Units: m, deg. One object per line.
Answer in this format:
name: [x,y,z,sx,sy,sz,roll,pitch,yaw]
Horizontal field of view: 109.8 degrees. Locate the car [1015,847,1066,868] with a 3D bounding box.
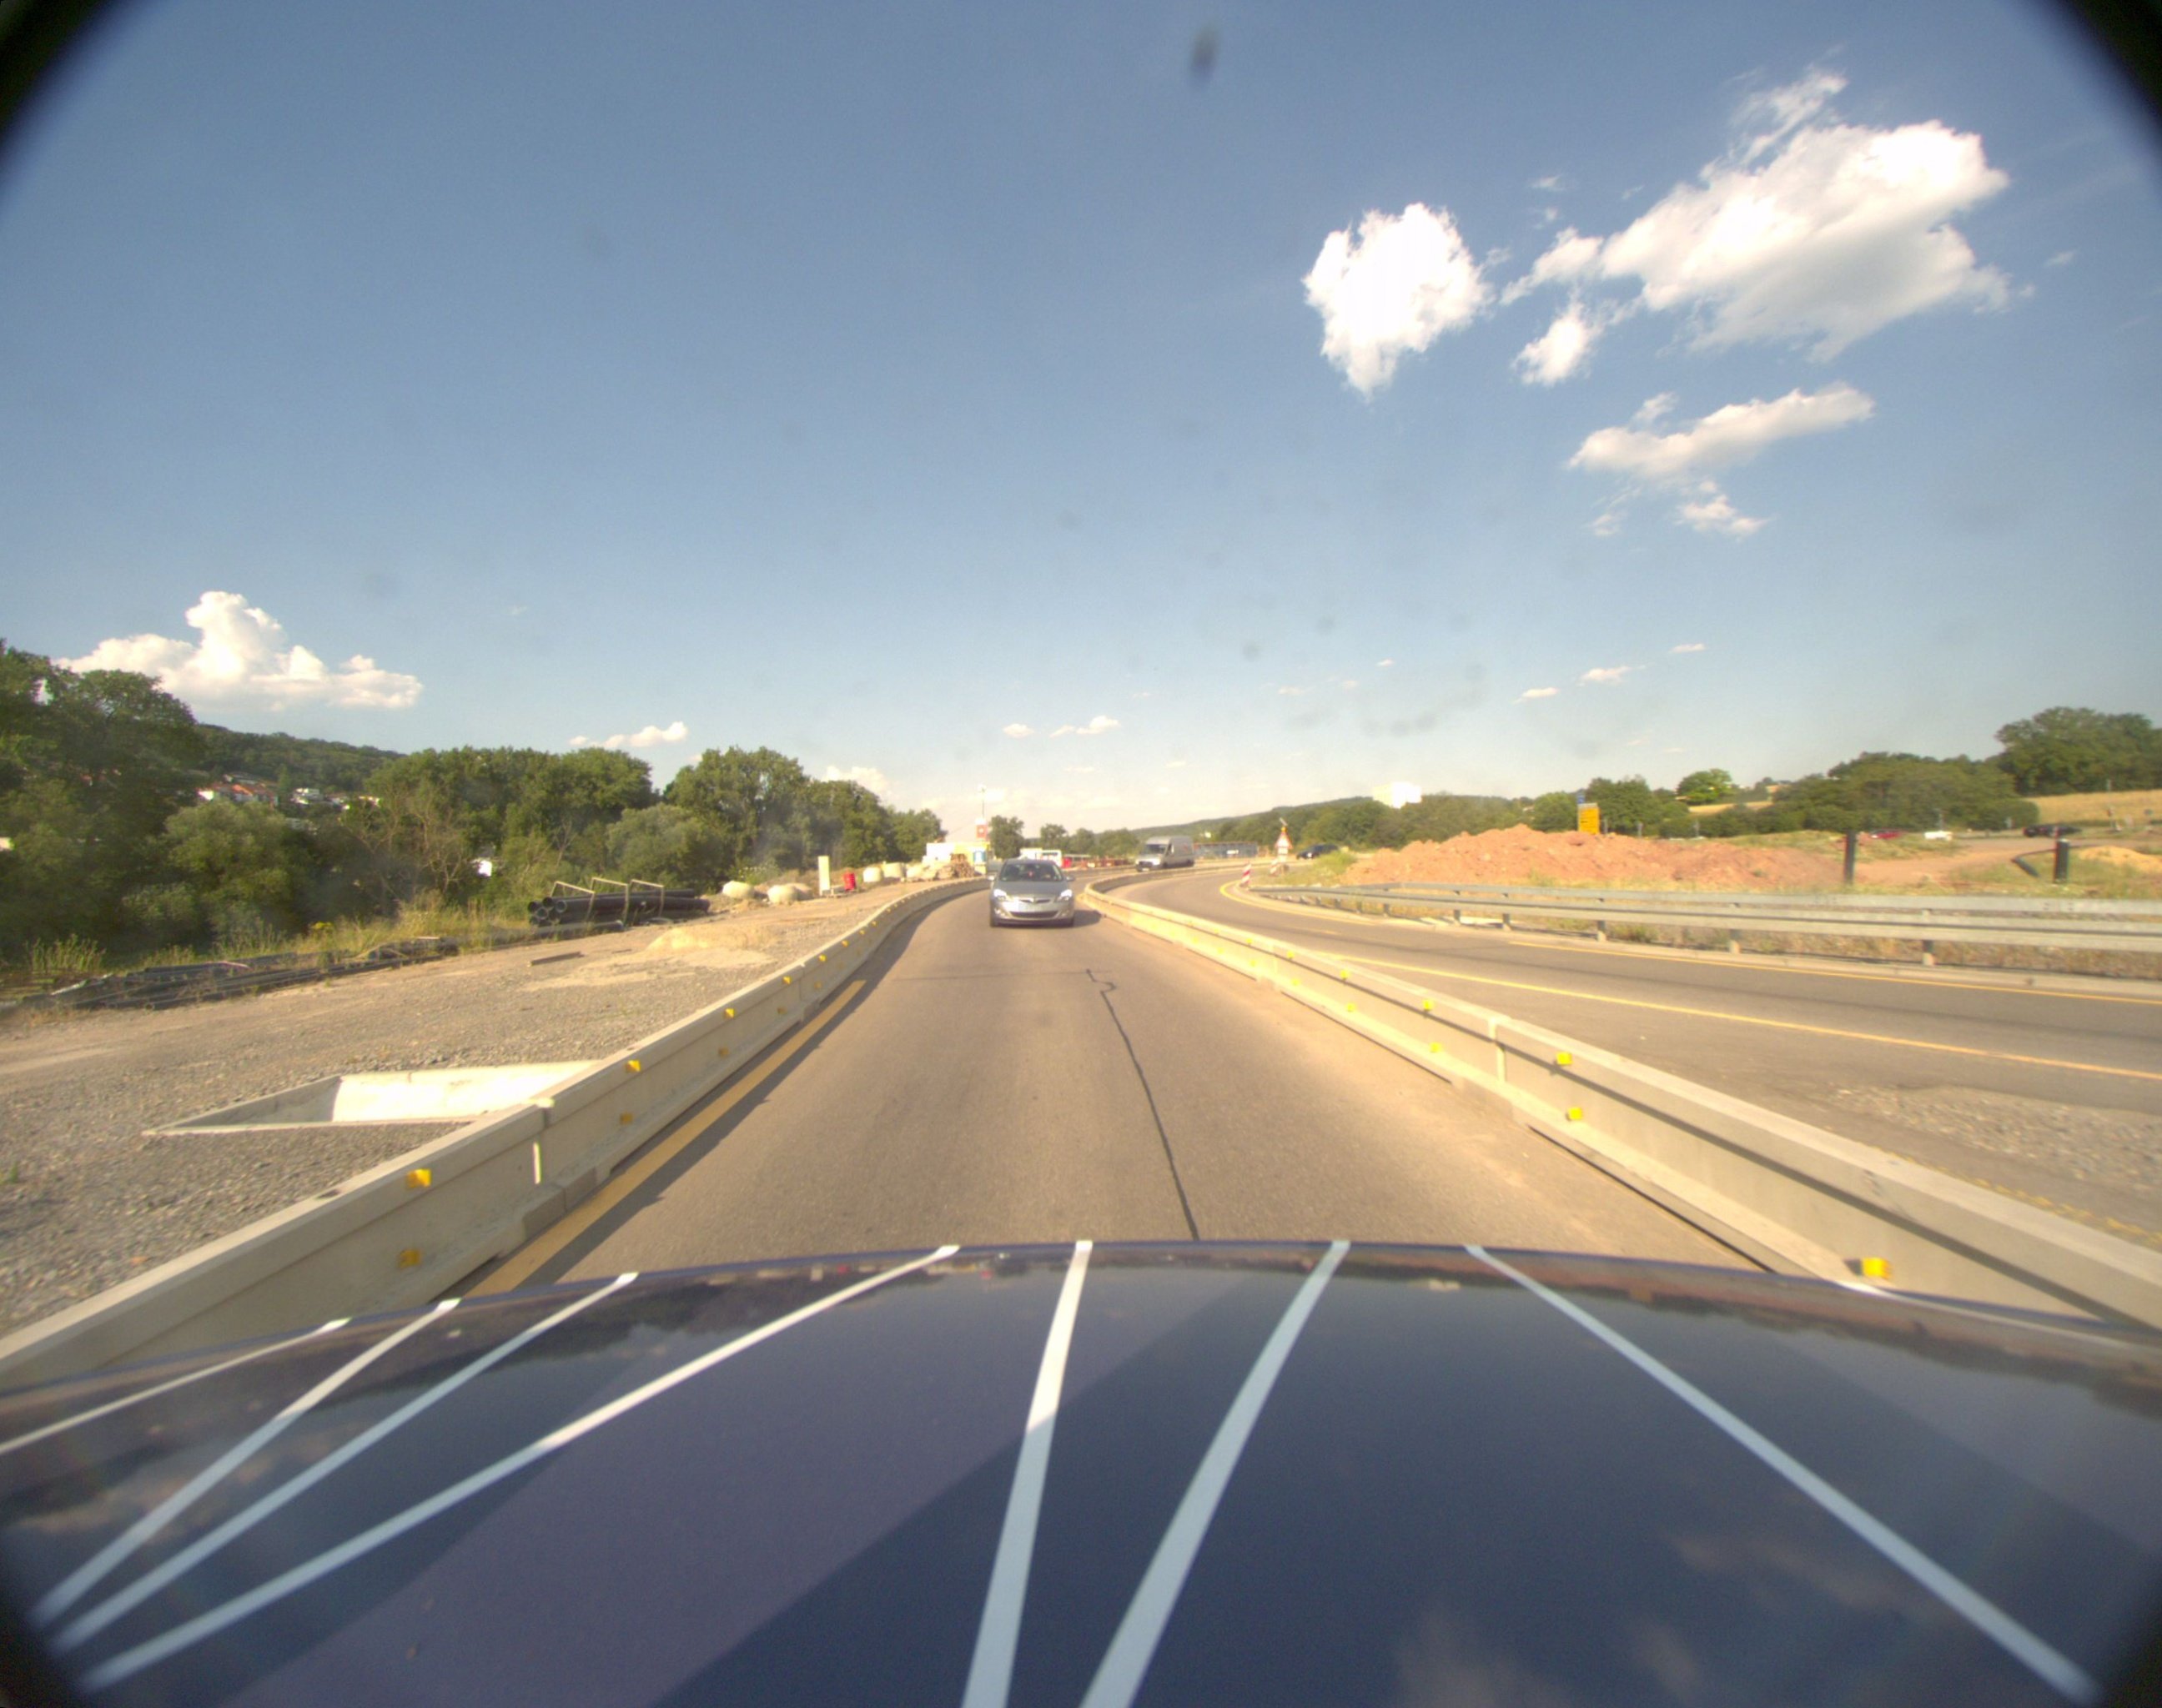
car: [-4.364,0.320,81.591,5.318,2.067,2.485,-2,1,-6]

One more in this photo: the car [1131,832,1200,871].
car: [5.901,-0.208,52.631,1.912,2.487,5.808,-1,1,38]

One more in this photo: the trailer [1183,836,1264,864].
trailer: [13.778,-0.414,73.338,7.237,2.400,3.007,-2,0,-26]

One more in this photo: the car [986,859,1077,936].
car: [-1.240,0.885,17.336,1.749,1.476,4.248,0,0,-8]

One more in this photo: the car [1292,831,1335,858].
car: [21.387,-0.880,69.840,4.007,2.390,1.871,-3,2,-41]

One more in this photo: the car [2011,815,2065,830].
car: [103.507,-3.365,82.187,4.516,1.511,1.713,-2,2,-11]
